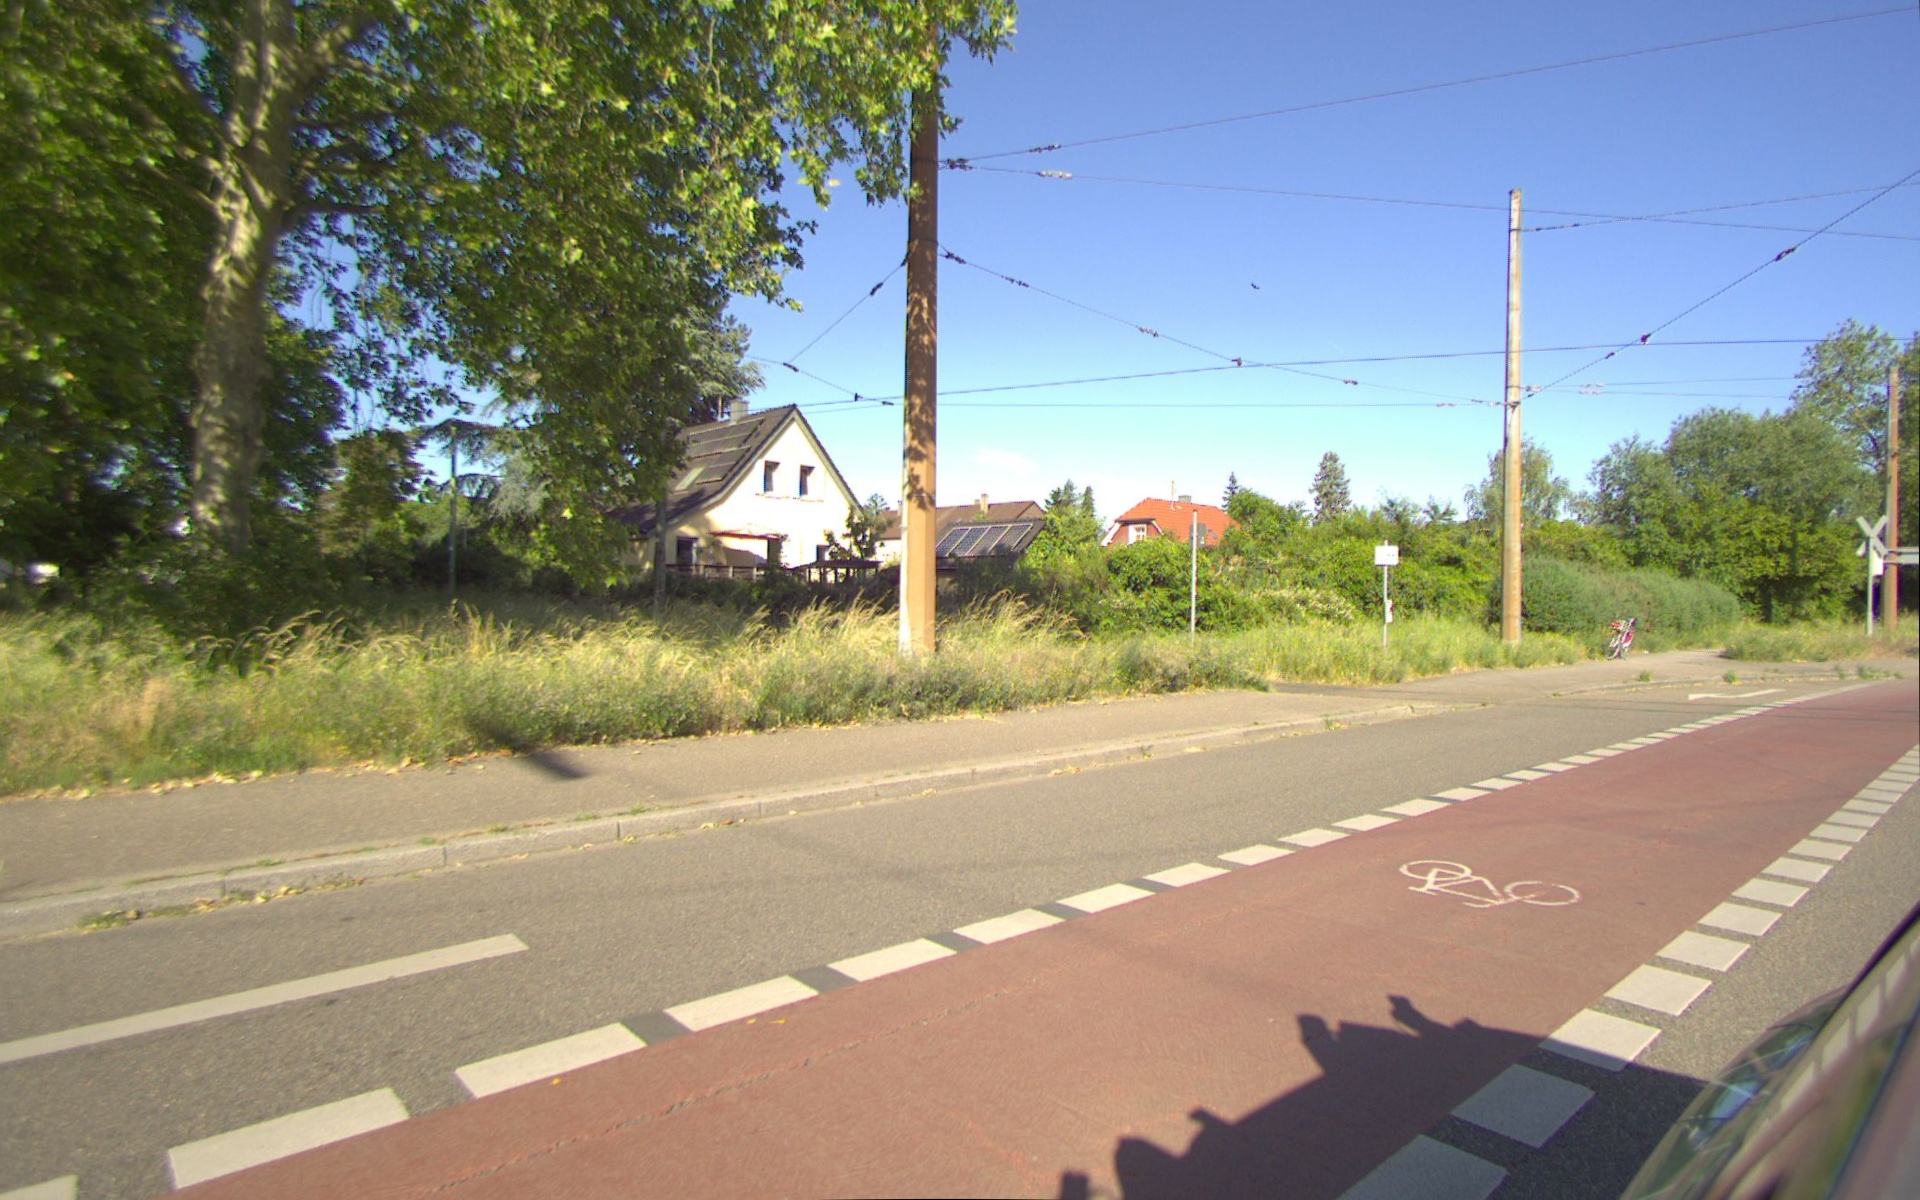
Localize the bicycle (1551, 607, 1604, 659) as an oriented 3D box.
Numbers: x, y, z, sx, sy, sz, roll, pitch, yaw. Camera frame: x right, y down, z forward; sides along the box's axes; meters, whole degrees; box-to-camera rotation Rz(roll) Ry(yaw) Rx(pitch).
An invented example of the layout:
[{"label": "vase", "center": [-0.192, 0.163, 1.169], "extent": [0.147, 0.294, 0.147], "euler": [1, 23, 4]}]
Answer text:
[{"label": "bicycle", "center": [14.248, 0.752, 23.320], "extent": [2.058, 1.149, 0.366], "euler": [1, 0, -39]}]
